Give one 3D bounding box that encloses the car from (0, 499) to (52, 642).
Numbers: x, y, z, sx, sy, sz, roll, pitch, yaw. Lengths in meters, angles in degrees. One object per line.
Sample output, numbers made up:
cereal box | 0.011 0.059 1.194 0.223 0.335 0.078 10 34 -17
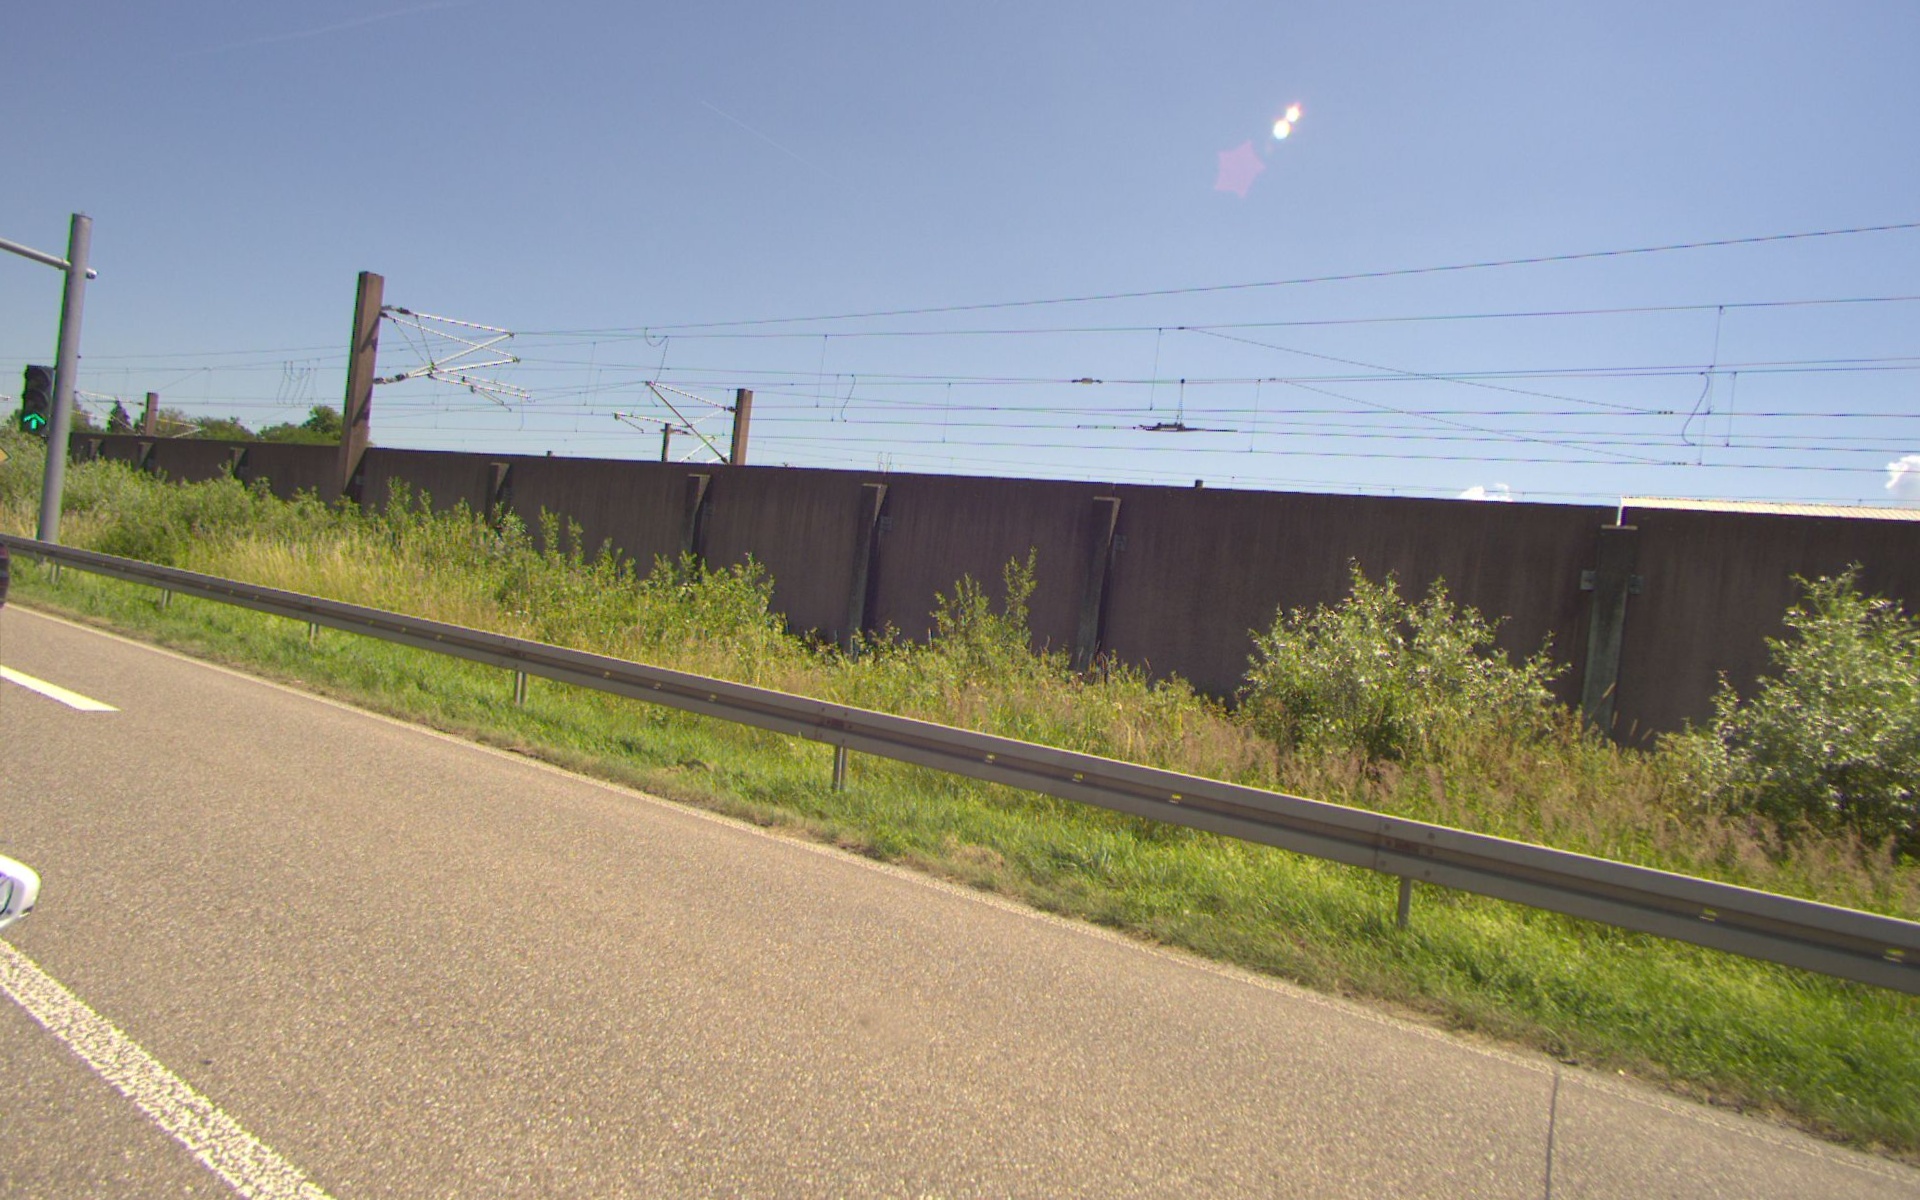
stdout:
car | -11.777 -0.600 10.637 4.427 1.395 1.861 7 -2 30
